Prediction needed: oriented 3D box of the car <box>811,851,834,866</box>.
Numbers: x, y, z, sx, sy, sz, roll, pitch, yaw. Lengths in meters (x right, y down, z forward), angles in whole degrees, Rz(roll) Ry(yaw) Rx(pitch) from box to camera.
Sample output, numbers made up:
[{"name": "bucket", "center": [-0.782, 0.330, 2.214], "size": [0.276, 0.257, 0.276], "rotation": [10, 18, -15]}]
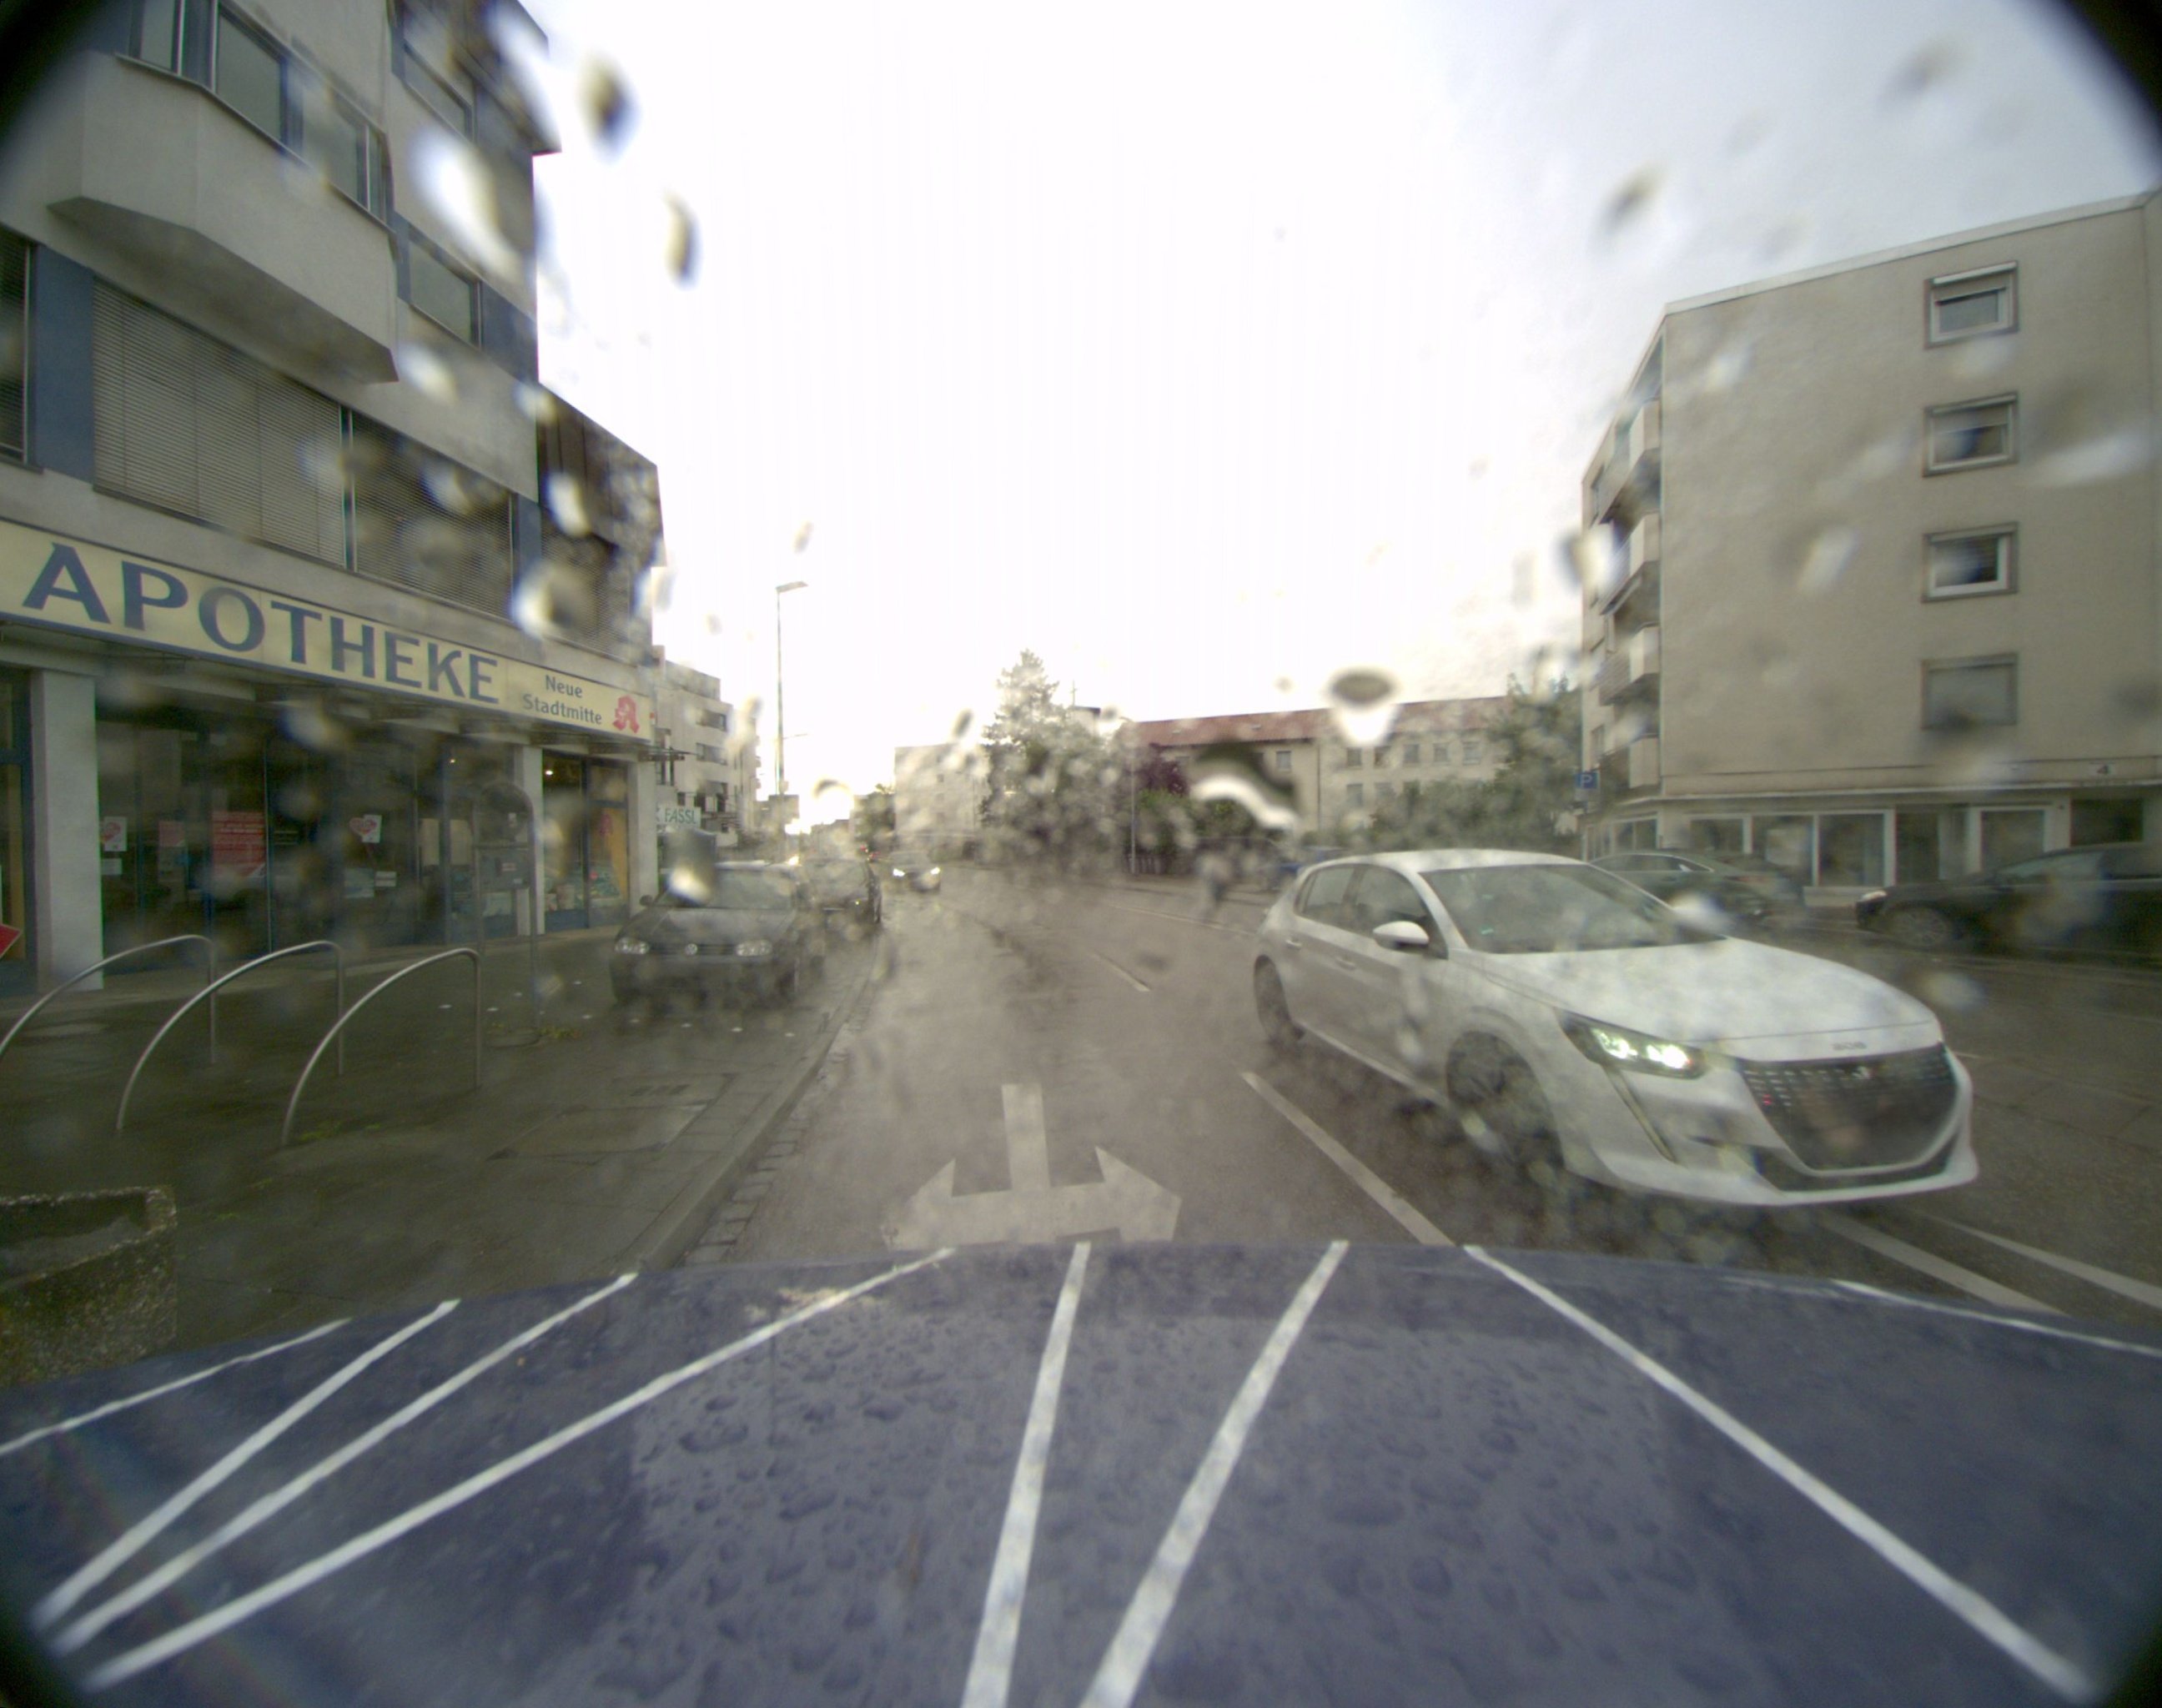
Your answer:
[{"name": "car", "center": [-25.870, 0.457, 75.893], "size": [1.804, 1.361, 3.964], "rotation": [-1, 2, -24]}]

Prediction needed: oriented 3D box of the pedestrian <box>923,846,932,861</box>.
[{"name": "pedestrian", "center": [-18.309, -0.066, 90.593], "size": [0.857, 1.726, 0.834], "rotation": [-1, 2, -29]}]

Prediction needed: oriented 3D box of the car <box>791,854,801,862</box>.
[{"name": "car", "center": [-58.972, 0.868, 157.296], "size": [1.747, 1.630, 3.992], "rotation": [-1, 1, -21]}]

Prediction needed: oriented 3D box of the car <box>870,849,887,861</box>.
[{"name": "car", "center": [-26.550, 0.090, 99.578], "size": [1.874, 1.428, 3.733], "rotation": [-1, 1, -20]}]

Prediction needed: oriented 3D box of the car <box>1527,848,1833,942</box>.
[{"name": "car", "center": [11.148, 0.647, 14.561], "size": [1.839, 1.426, 4.266], "rotation": [-2, 2, -21]}]

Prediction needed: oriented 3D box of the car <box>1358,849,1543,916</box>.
[{"name": "car", "center": [9.296, 0.630, 19.547], "size": [1.639, 1.491, 4.338], "rotation": [-1, 1, -21]}]

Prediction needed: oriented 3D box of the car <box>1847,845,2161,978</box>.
[{"name": "car", "center": [12.908, 0.642, 9.587], "size": [1.839, 1.451, 4.180], "rotation": [-2, 2, -21]}]

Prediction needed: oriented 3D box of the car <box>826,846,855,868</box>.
[{"name": "car", "center": [-17.284, 0.196, 54.597], "size": [1.736, 1.519, 4.056], "rotation": [-1, 0, -21]}]

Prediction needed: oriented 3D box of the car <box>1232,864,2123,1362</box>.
[{"name": "car", "center": [2.428, 0.833, 4.409], "size": [1.744, 1.401, 3.892], "rotation": [-3, 1, -9]}]

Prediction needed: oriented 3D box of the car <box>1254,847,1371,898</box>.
[{"name": "car", "center": [7.443, 0.535, 24.778], "size": [1.636, 1.497, 3.873], "rotation": [-1, 1, -20]}]

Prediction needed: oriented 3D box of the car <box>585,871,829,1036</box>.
[{"name": "car", "center": [-4.003, 0.949, 8.777], "size": [1.656, 1.364, 3.727], "rotation": [1, 0, -12]}]

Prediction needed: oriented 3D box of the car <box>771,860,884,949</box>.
[{"name": "car", "center": [-4.799, 0.858, 14.849], "size": [1.660, 1.416, 3.995], "rotation": [-1, 1, -12]}]

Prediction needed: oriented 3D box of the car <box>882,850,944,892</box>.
[{"name": "car", "center": [-6.595, 0.601, 29.596], "size": [1.737, 1.436, 4.039], "rotation": [-2, 2, -21]}]

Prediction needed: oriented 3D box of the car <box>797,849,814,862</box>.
[{"name": "car", "center": [-37.120, 0.236, 102.474], "size": [2.002, 1.606, 3.993], "rotation": [-3, 1, -20]}]
